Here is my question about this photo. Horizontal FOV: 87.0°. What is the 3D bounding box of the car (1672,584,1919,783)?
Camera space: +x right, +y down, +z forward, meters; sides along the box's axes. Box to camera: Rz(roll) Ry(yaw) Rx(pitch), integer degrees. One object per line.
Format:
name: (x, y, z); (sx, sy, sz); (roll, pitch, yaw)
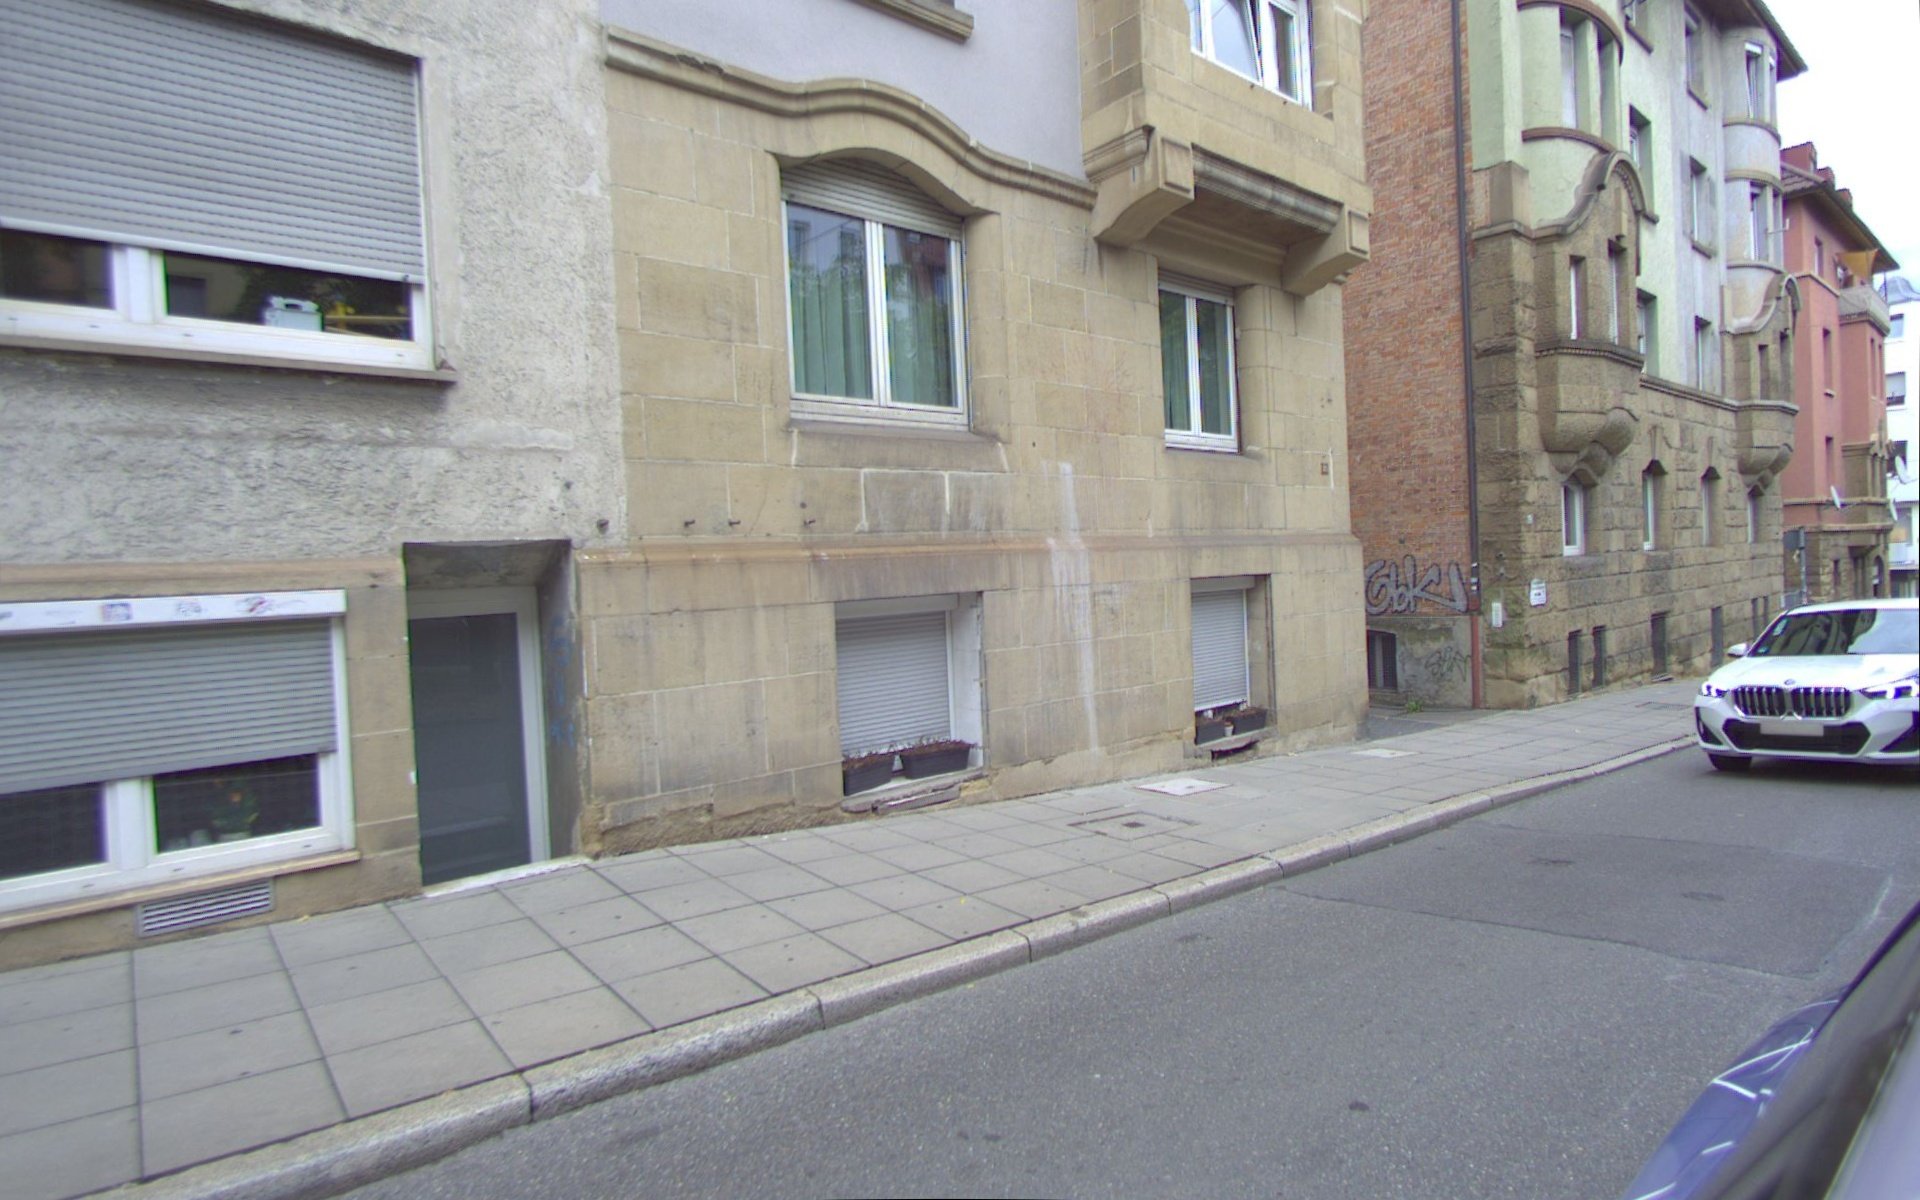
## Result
car: (9.312, 0.688, 10.165); (4.474, 1.625, 1.855); (-1, -3, -32)
